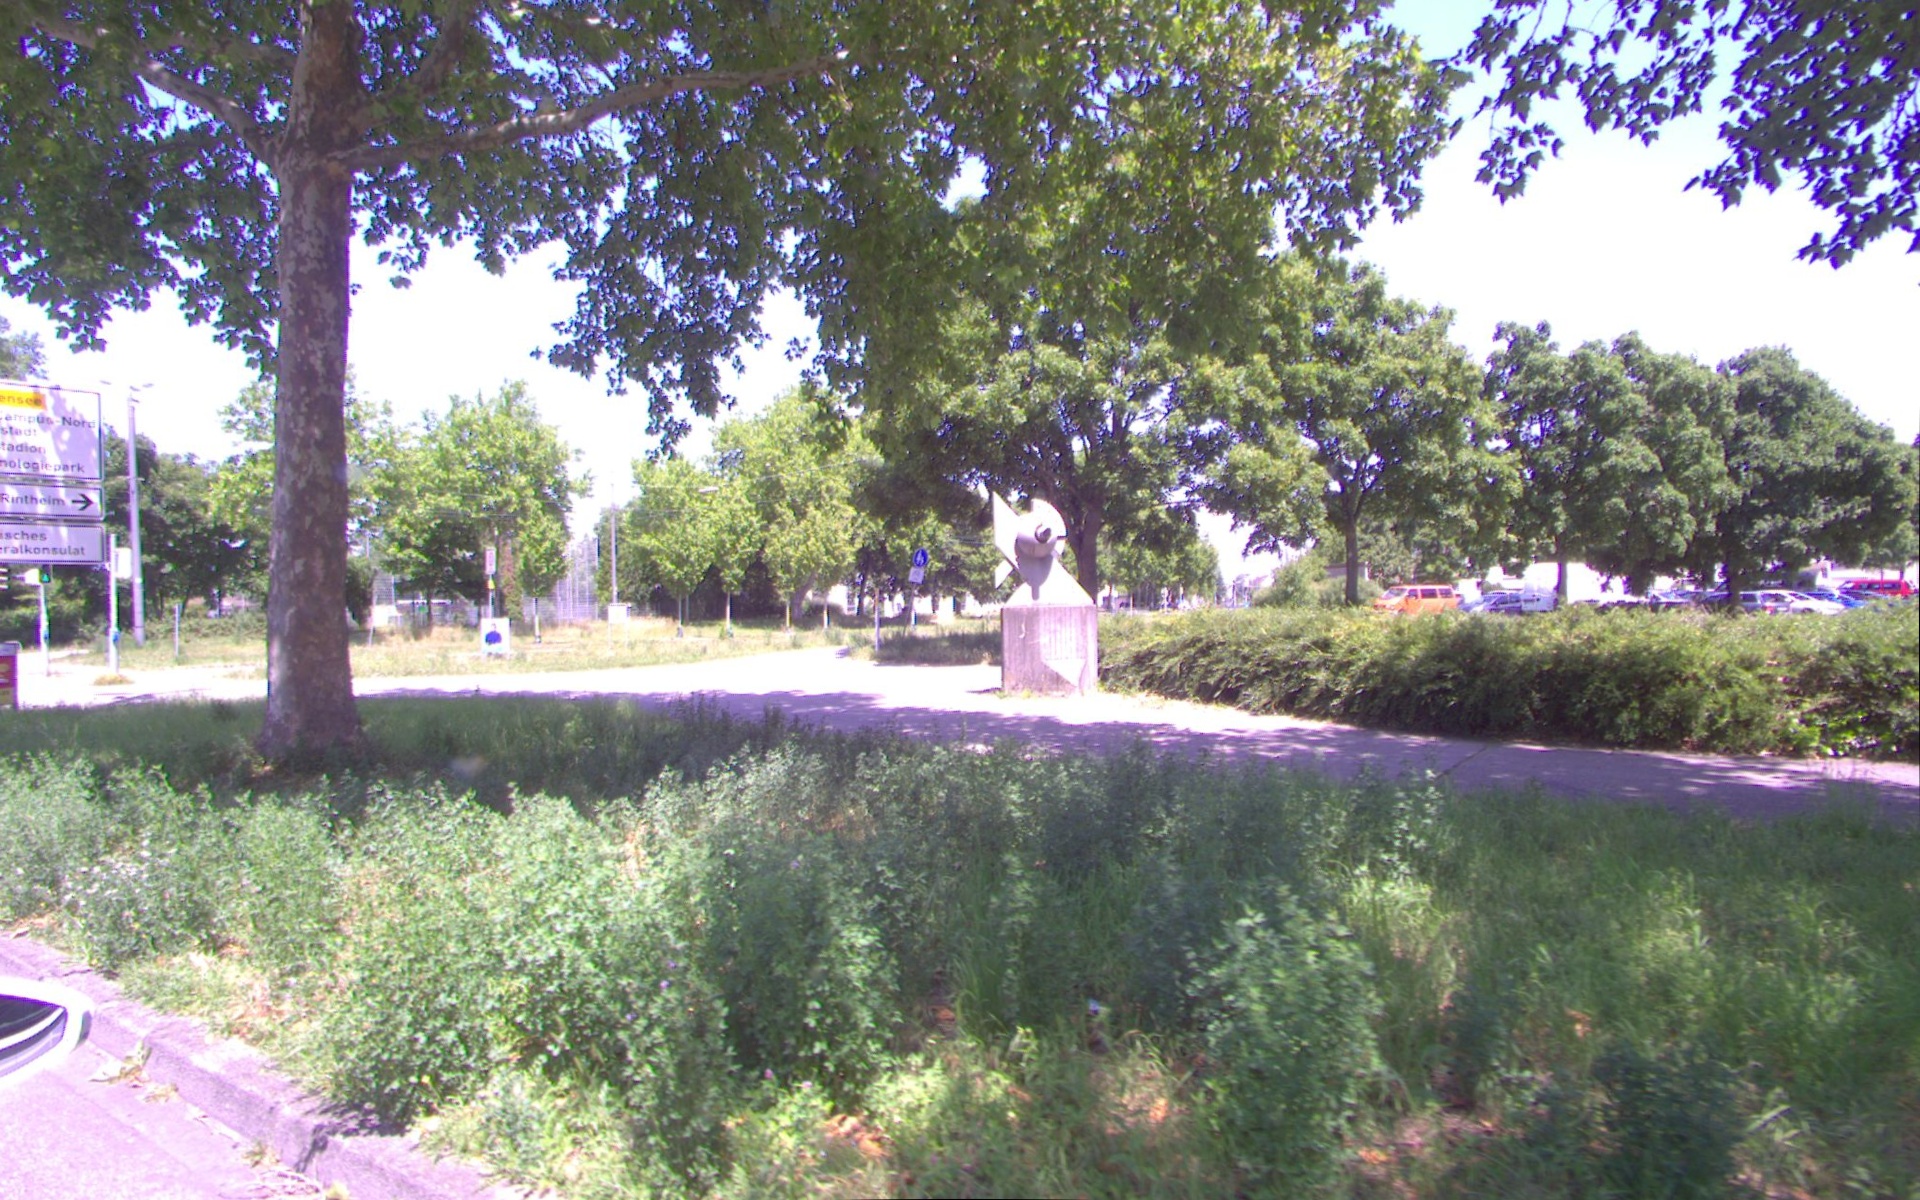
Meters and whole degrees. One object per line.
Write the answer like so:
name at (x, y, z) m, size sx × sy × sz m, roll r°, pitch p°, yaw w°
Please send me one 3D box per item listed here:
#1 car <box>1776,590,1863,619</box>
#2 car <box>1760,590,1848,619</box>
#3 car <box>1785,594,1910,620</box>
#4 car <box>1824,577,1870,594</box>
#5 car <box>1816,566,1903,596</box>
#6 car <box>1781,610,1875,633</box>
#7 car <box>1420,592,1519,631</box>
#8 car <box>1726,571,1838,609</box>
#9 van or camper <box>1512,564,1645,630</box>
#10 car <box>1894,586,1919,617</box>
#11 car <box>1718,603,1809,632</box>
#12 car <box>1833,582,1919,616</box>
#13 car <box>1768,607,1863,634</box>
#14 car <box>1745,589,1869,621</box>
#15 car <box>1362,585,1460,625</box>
car at (35.536, 0.203, 41.429) m, size 0.938 × 1.141 × 2.590 m, roll -1°, pitch 0°, yaw -25°
car at (34.443, 0.186, 40.908) m, size 0.991 × 1.141 × 2.590 m, roll -1°, pitch 0°, yaw -25°
car at (36.815, 0.303, 41.623) m, size 1.655 × 1.048 × 3.553 m, roll -1°, pitch 0°, yaw -25°
car at (92.624, -1.533, 104.568) m, size 3.309 × 1.639 × 1.439 m, roll -1°, pitch 0°, yaw 18°
car at (103.527, -2.141, 115.342) m, size 3.155 × 3.224 × 7.144 m, roll -1°, pitch 0°, yaw -41°
car at (33.650, 0.825, 38.872) m, size 0.938 × 0.852 × 2.590 m, roll -1°, pitch 0°, yaw -25°
car at (24.030, 0.544, 47.256) m, size 4.000 × 1.741 × 1.952 m, roll -1°, pitch 0°, yaw -18°
car at (46.507, -0.532, 56.732) m, size 2.209 × 2.040 × 4.409 m, roll -1°, pitch 0°, yaw -22°
van or camper at (27.104, -0.134, 43.924) m, size 5.039 × 2.787 × 2.199 m, roll -1°, pitch 0°, yaw -18°
car at (44.716, 0.052, 45.175) m, size 1.690 × 1.384 × 3.414 m, roll -1°, pitch 0°, yaw -25°
car at (30.848, 0.660, 38.487) m, size 0.938 × 1.049 × 2.590 m, roll -1°, pitch 0°, yaw -25°
car at (57.265, -0.039, 62.359) m, size 1.935 × 2.040 × 3.987 m, roll -1°, pitch 0°, yaw -23°
car at (32.529, 0.762, 38.119) m, size 0.938 × 1.000 × 2.590 m, roll -1°, pitch 0°, yaw -25°
car at (34.452, 0.193, 40.821) m, size 1.594 × 1.241 × 3.560 m, roll 0°, pitch 0°, yaw -25°
car at (23.943, 0.275, 53.164) m, size 4.582 × 2.029 × 2.069 m, roll -1°, pitch 0°, yaw -19°
